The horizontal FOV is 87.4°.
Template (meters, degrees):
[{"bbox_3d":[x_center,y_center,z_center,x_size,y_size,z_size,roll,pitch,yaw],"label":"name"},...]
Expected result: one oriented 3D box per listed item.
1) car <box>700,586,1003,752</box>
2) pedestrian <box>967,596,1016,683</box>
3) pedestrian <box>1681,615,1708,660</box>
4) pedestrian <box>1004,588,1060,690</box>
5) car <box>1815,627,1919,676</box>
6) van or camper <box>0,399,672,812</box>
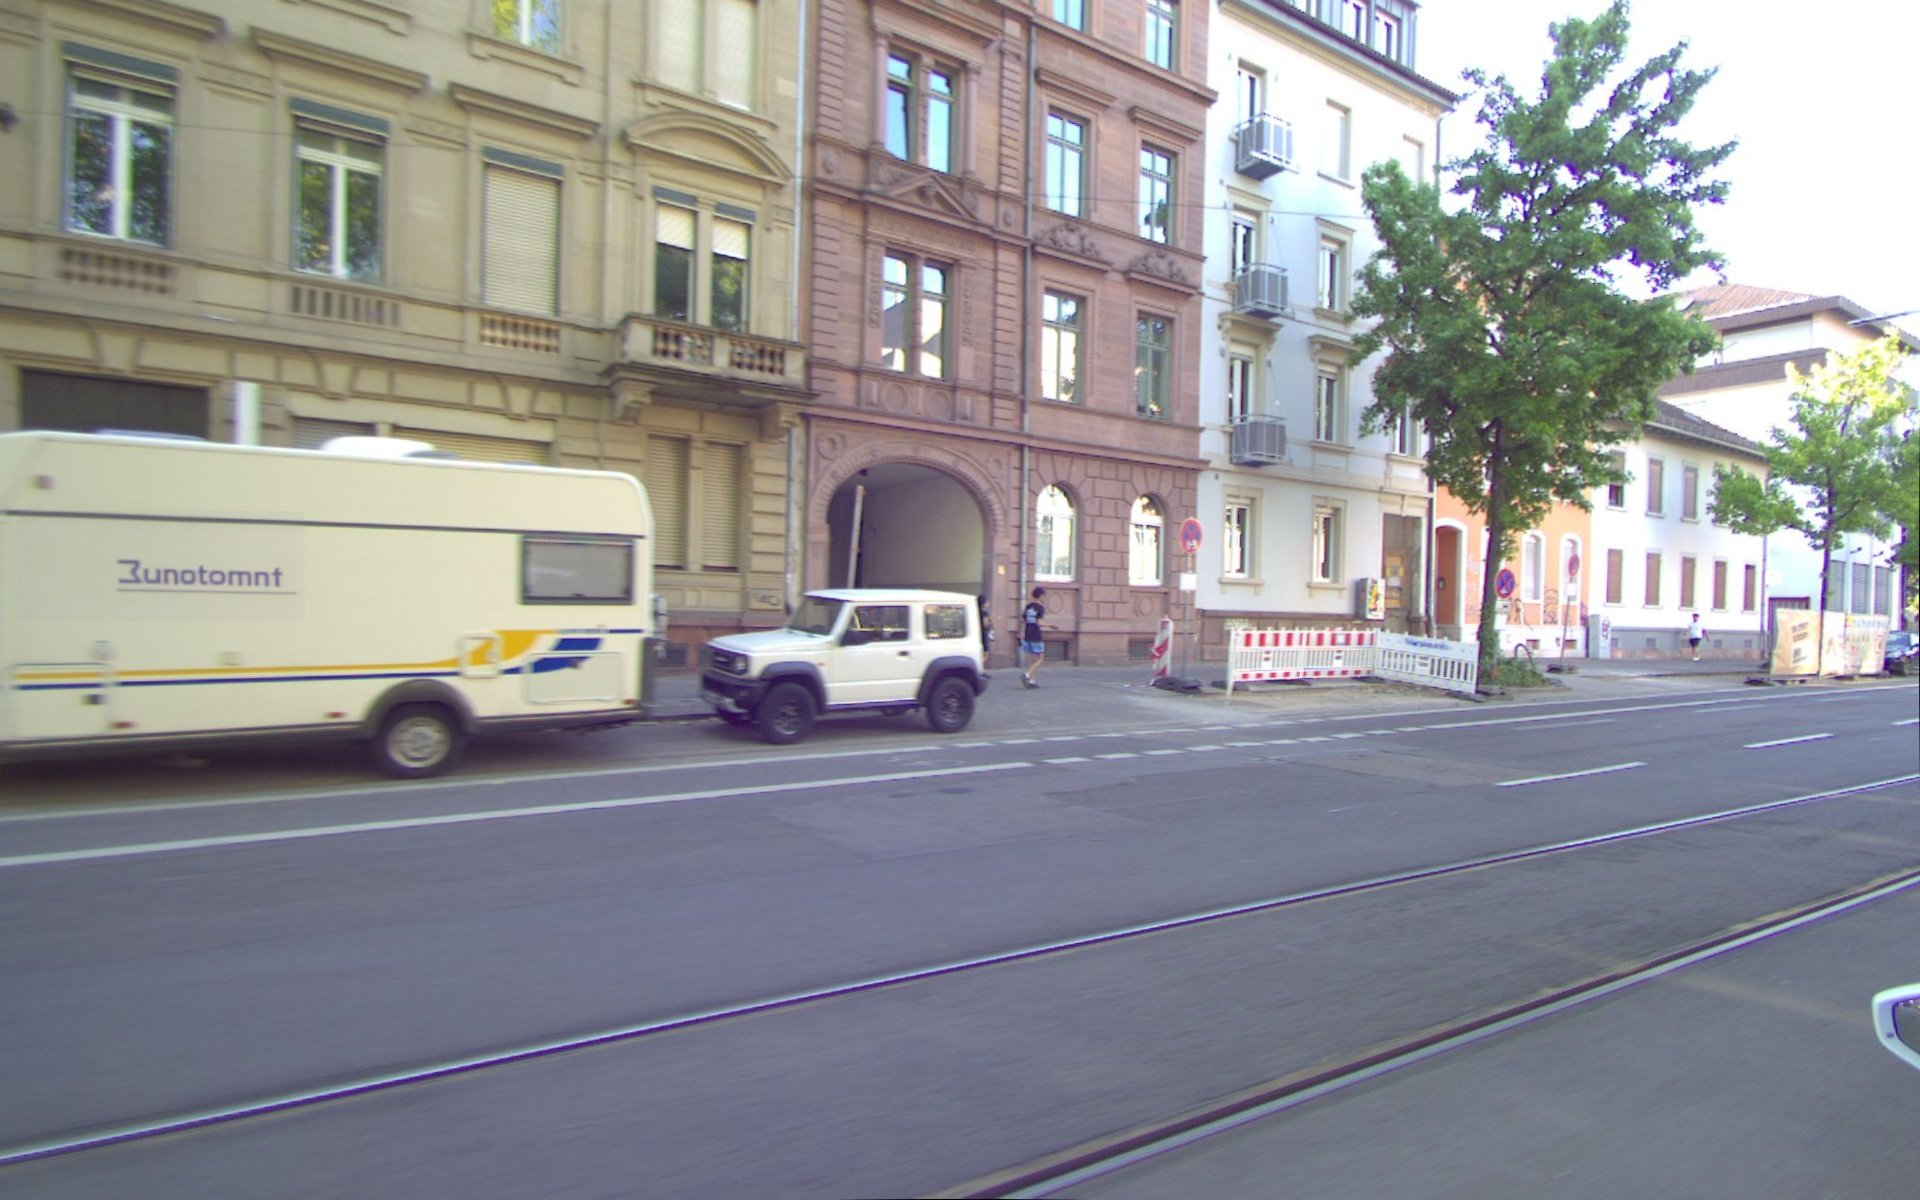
[{"bbox_3d":[-1.308,0.771,12.495,3.338,1.729,1.619,1,2,-36],"label":"car"},{"bbox_3d":[0.557,0.681,17.717,0.601,1.481,0.572,1,2,-33],"label":"pedestrian"},{"bbox_3d":[26.369,1.335,36.046,0.633,1.591,0.590,1,0,-34],"label":"pedestrian"},{"bbox_3d":[1.221,0.657,17.051,0.681,1.676,0.564,1,2,-34],"label":"pedestrian"},{"bbox_3d":[31.543,1.734,34.582,4.675,1.534,1.982,1,-1,-33],"label":"car"},{"bbox_3d":[-6.509,0.006,8.903,7.168,2.987,2.406,1,3,-31],"label":"van or camper"}]
